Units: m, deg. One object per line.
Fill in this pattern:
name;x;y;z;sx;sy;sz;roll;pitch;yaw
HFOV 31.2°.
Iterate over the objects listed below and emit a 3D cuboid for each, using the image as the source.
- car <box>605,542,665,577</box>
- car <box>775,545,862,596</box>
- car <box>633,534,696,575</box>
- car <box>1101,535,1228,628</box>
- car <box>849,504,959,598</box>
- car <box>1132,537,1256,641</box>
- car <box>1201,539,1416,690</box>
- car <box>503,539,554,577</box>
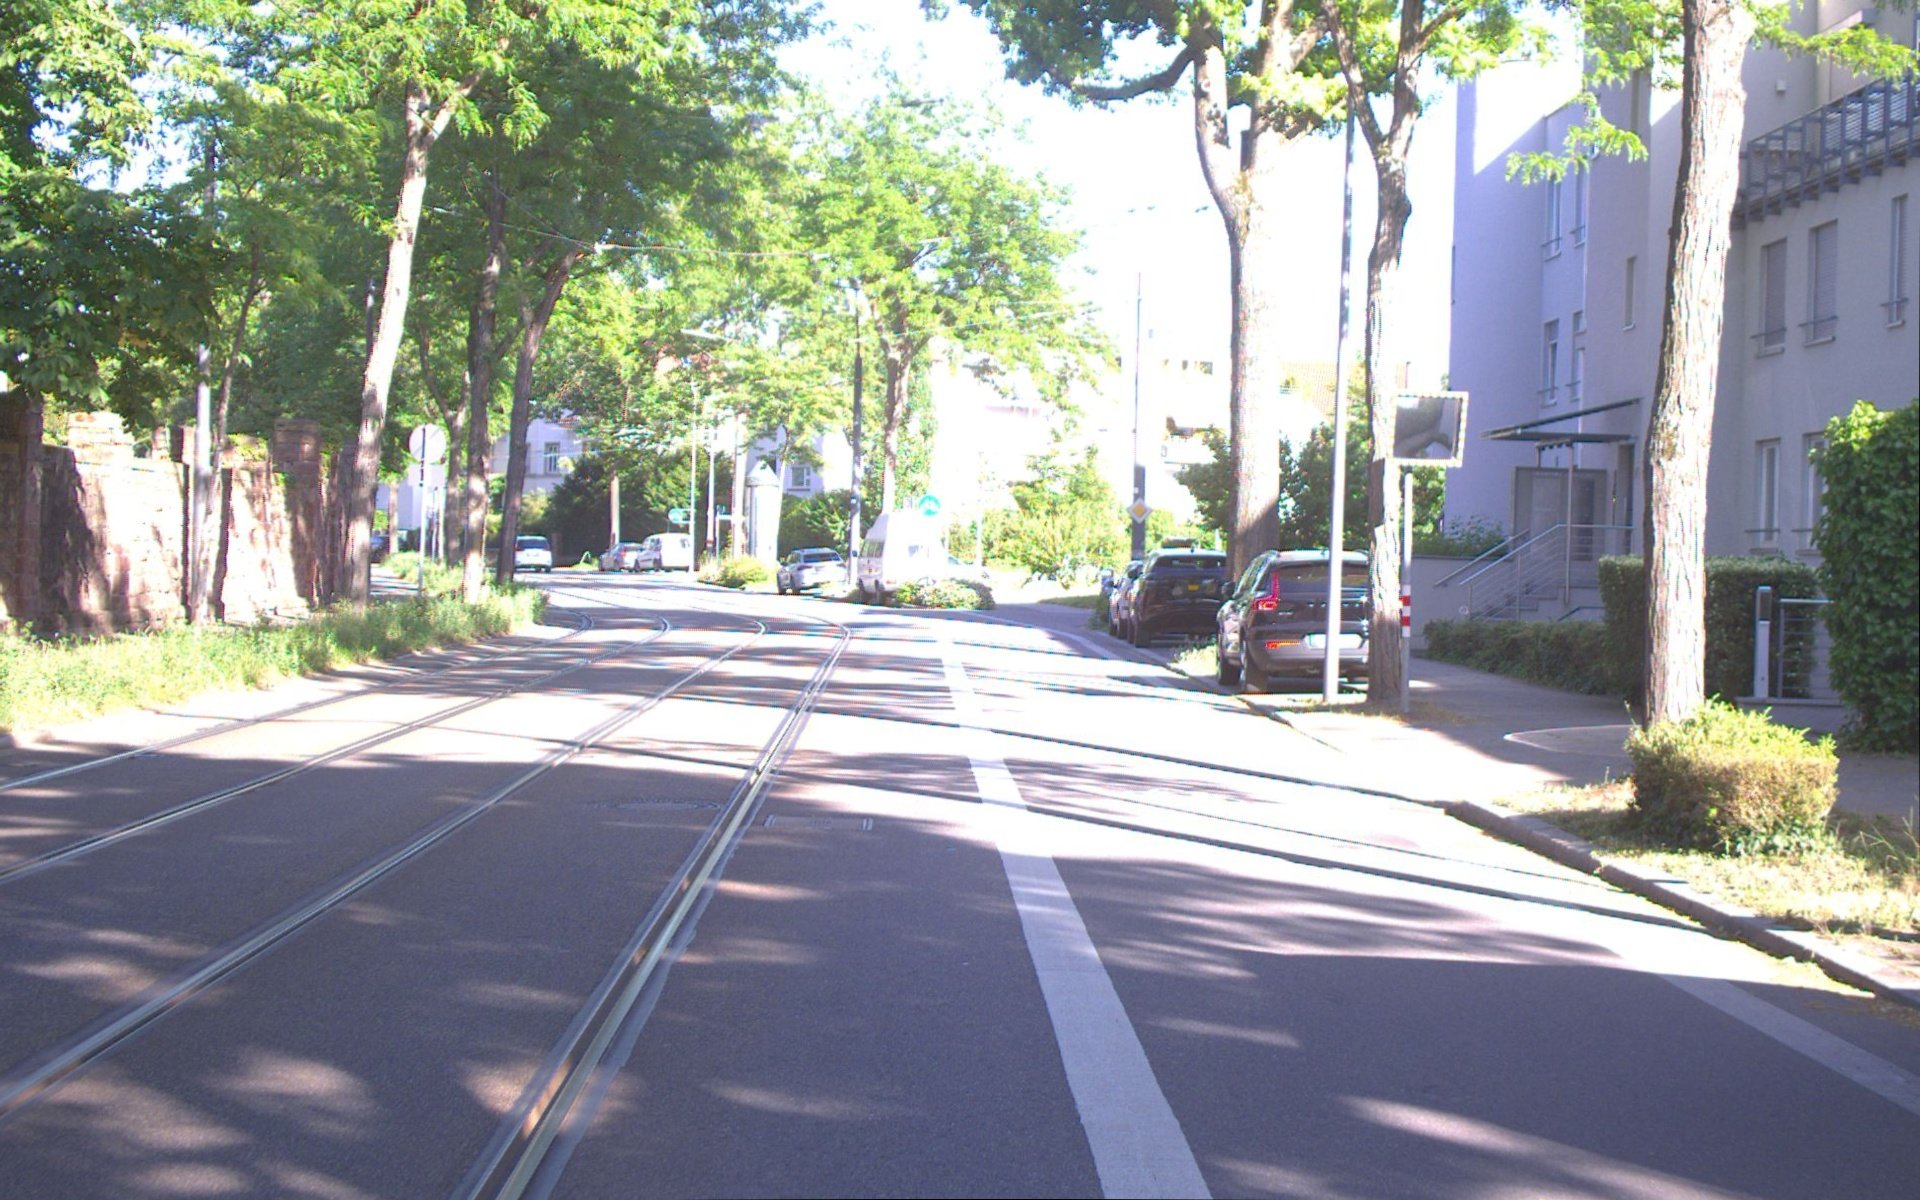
car;-15.821;-1.984;167.171;2.002;1.669;4.174;0;1;-18
car;-4.609;-0.974;111.554;2.002;1.555;4.394;1;1;-13
car;-13.885;-2.158;161.325;2.002;1.903;4.393;0;1;-18
car;3.738;-0.365;63.550;2.002;1.669;4.393;0;1;-1
car;-1.553;-1.354;93.619;1.993;2.449;4.510;1;1;-14
car;3.890;-0.214;57.647;2.003;1.669;4.392;0;1;3
car;4.023;0.124;40.335;2.003;1.669;4.392;0;1;-1
car;-19.803;-1.917;157.634;1.865;1.669;4.174;1;1;-13
